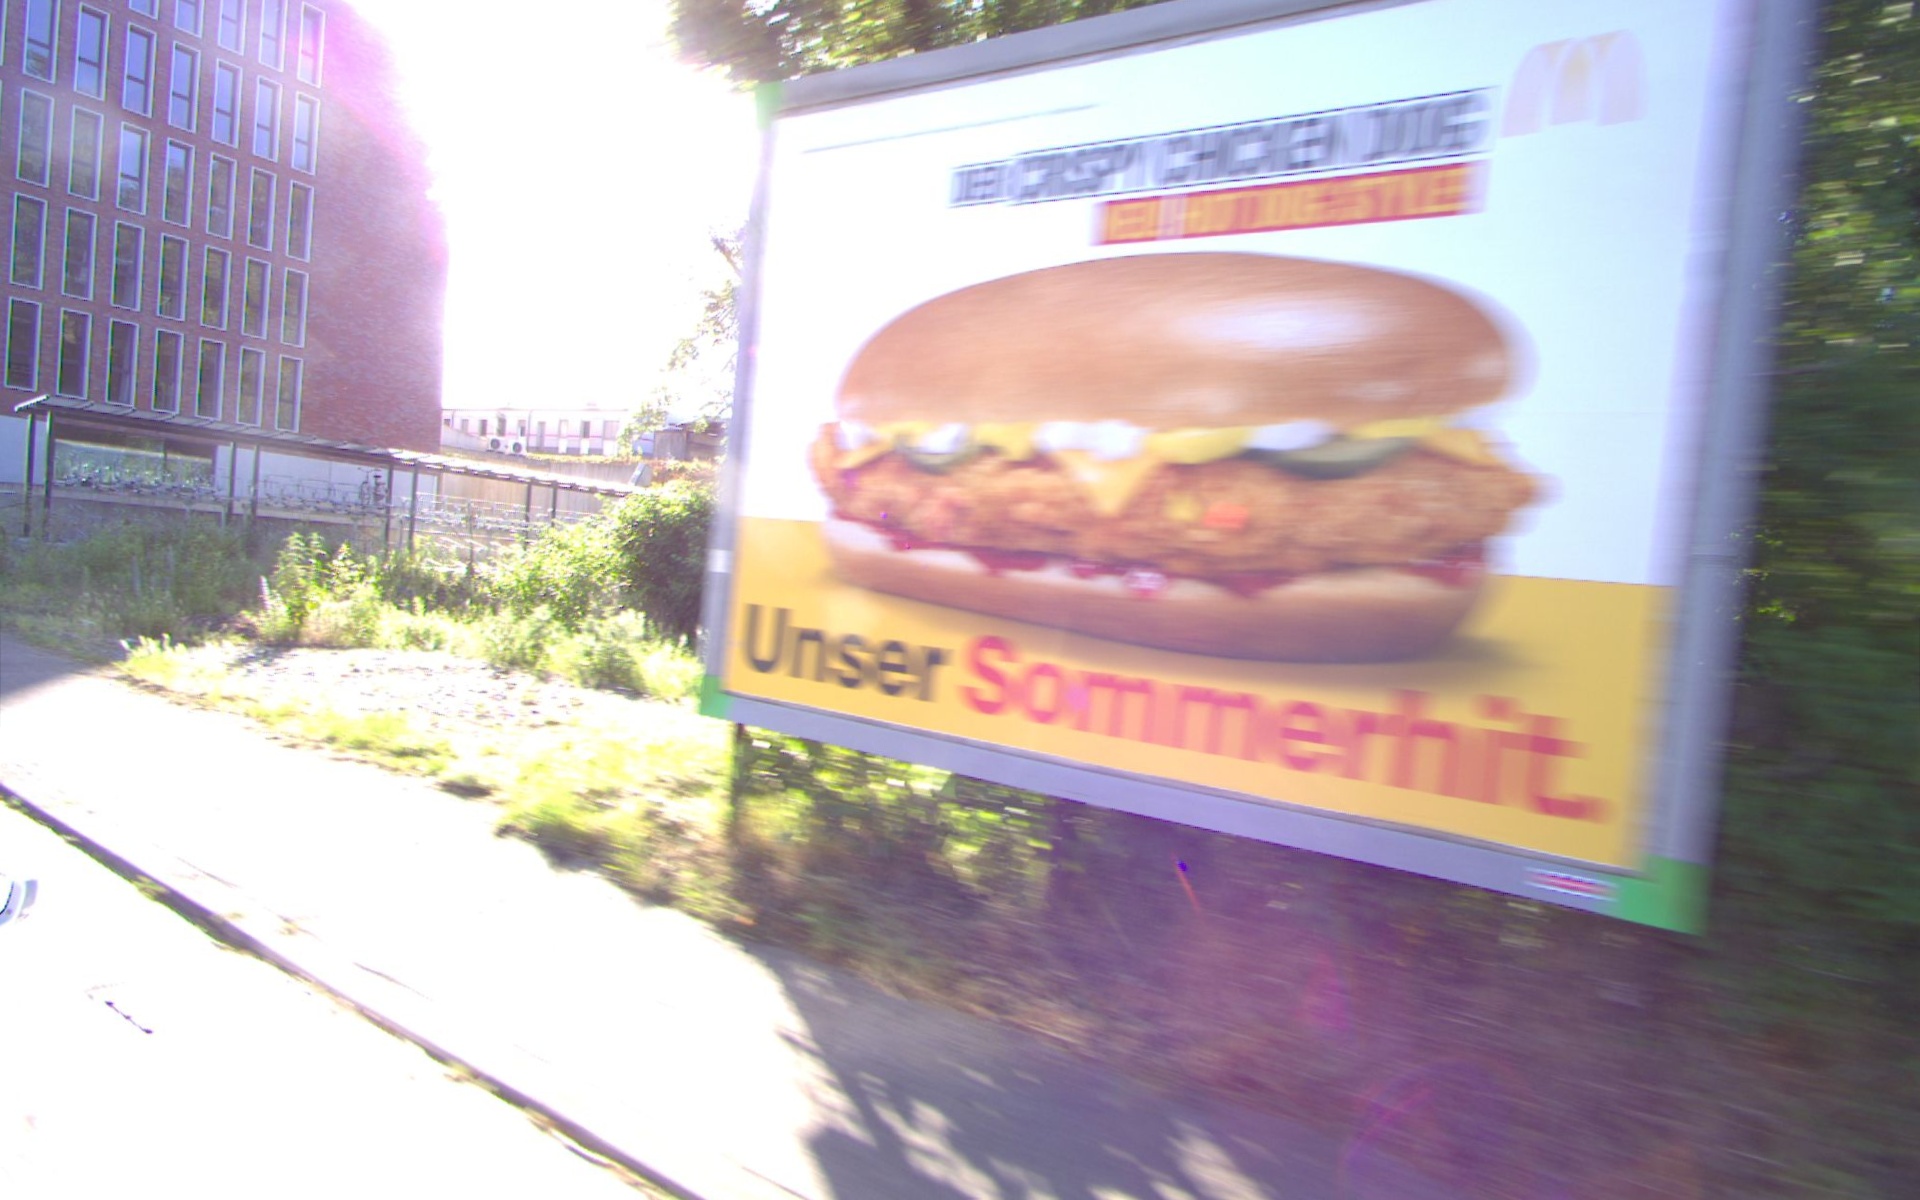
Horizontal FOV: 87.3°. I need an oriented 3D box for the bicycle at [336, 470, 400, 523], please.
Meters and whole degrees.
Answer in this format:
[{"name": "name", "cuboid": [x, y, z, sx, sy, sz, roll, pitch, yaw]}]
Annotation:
[{"name": "bicycle", "cuboid": [-16.621, -2.914, 28.225, 1.957, 1.338, 0.631, 6, 2, 32]}]
